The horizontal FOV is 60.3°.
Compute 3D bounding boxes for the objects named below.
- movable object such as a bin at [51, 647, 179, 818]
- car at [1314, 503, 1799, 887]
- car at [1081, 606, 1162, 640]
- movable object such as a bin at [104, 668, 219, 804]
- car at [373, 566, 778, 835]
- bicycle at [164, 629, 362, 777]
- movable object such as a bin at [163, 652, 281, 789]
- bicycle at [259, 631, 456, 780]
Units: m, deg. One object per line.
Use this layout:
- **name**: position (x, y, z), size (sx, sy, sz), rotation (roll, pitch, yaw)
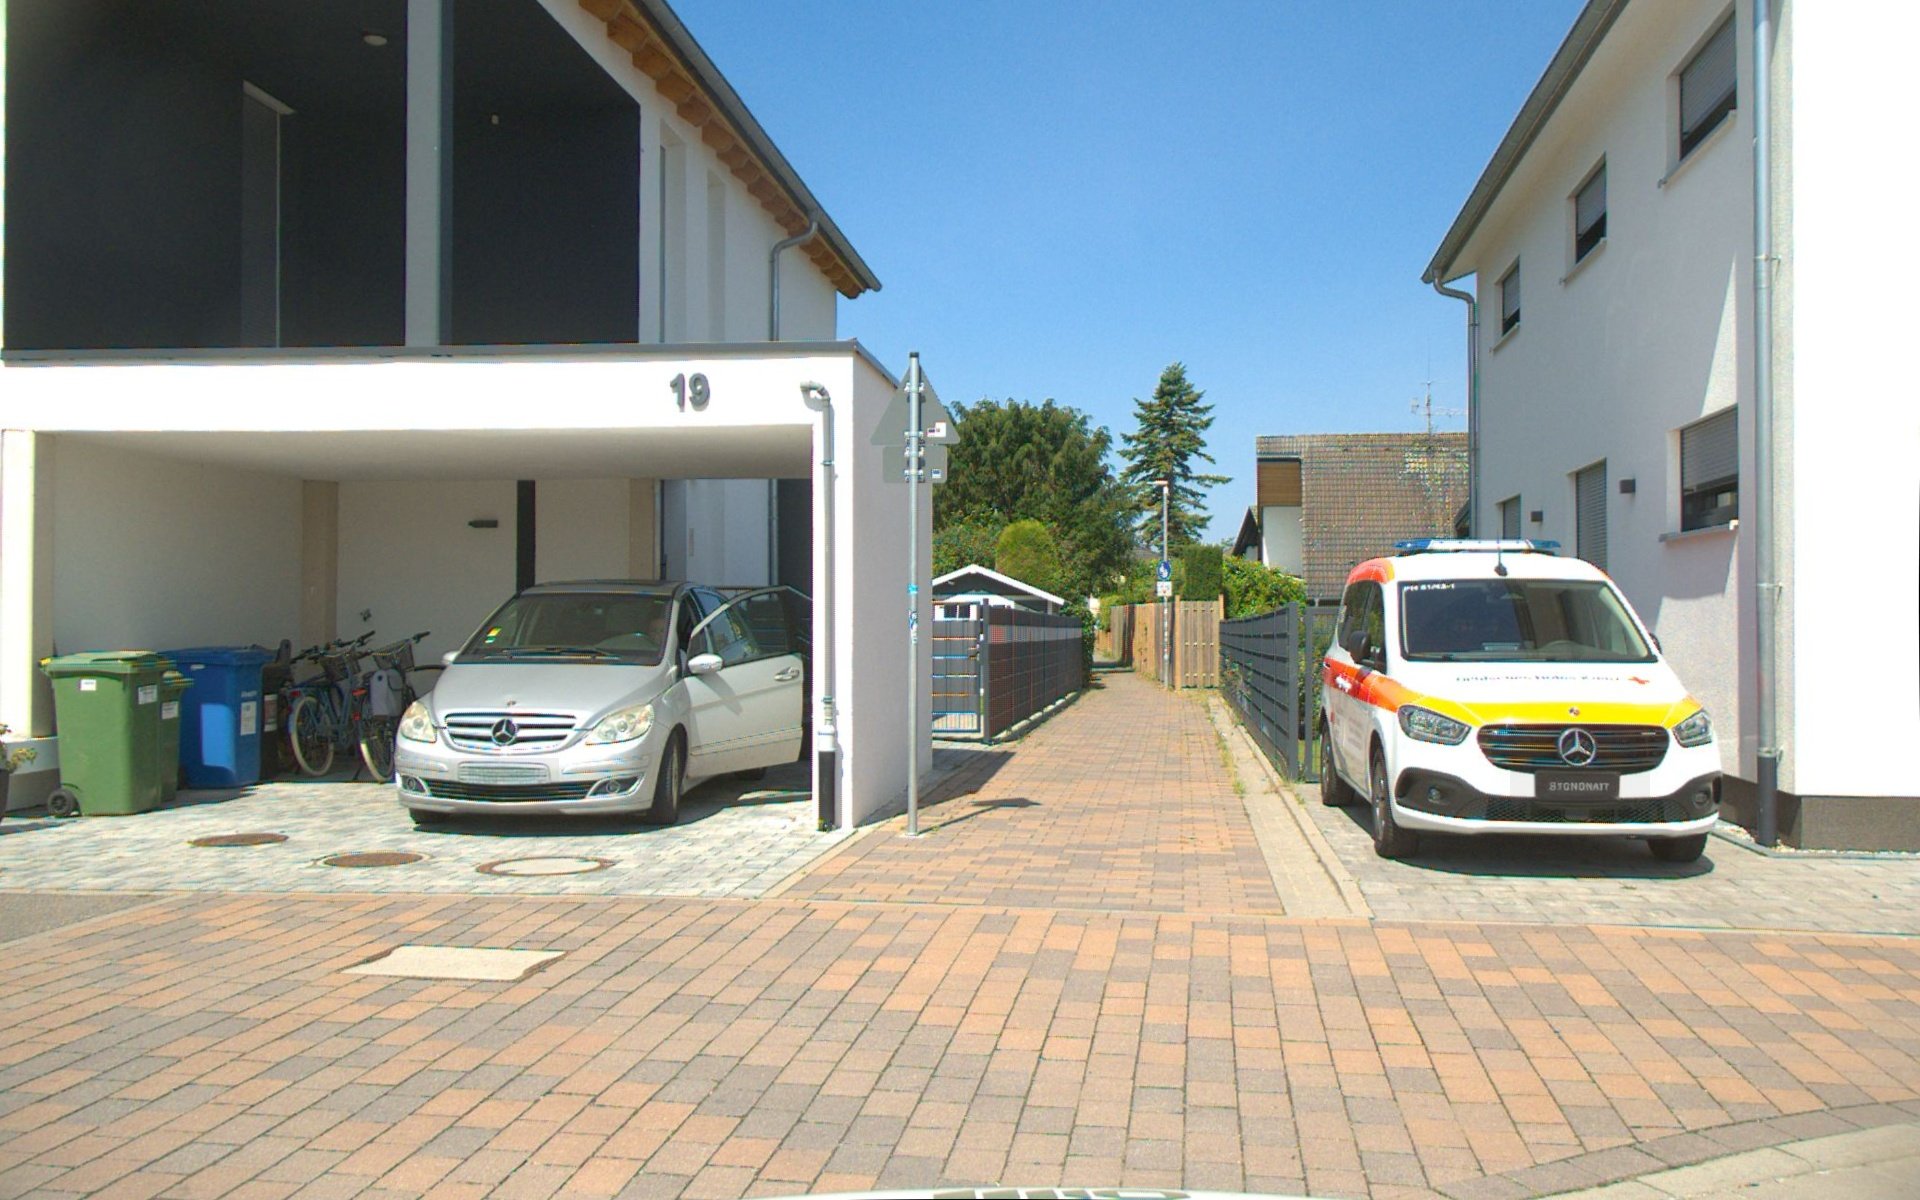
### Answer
- **movable object such as a bin**: position (-5.756, 0.893, 11.284), size (0.587, 1.111, 0.500), rotation (-2, -1, 4)
- **car**: position (3.490, 0.500, 10.691), size (1.891, 1.908, 4.755), rotation (0, -1, 6)
- **car**: position (8.257, 1.168, 84.600), size (4.058, 1.747, 1.907), rotation (0, -1, 6)
- **movable object such as a bin**: position (-5.713, 0.963, 11.853), size (0.548, 0.921, 0.500), rotation (1, 0, 4)
- **car**: position (-2.514, 0.627, 11.900), size (1.703, 1.589, 4.167), rotation (0, -1, 4)
- **bicycle**: position (-5.977, 0.841, 14.337), size (0.760, 1.146, 2.133), rotation (1, 0, 1)
- **movable object such as a bin**: position (-5.701, 0.920, 12.793), size (0.660, 1.004, 0.500), rotation (1, 0, 4)
- **bicycle**: position (-5.112, 0.856, 14.206), size (0.713, 1.146, 2.134), rotation (1, 0, 6)
